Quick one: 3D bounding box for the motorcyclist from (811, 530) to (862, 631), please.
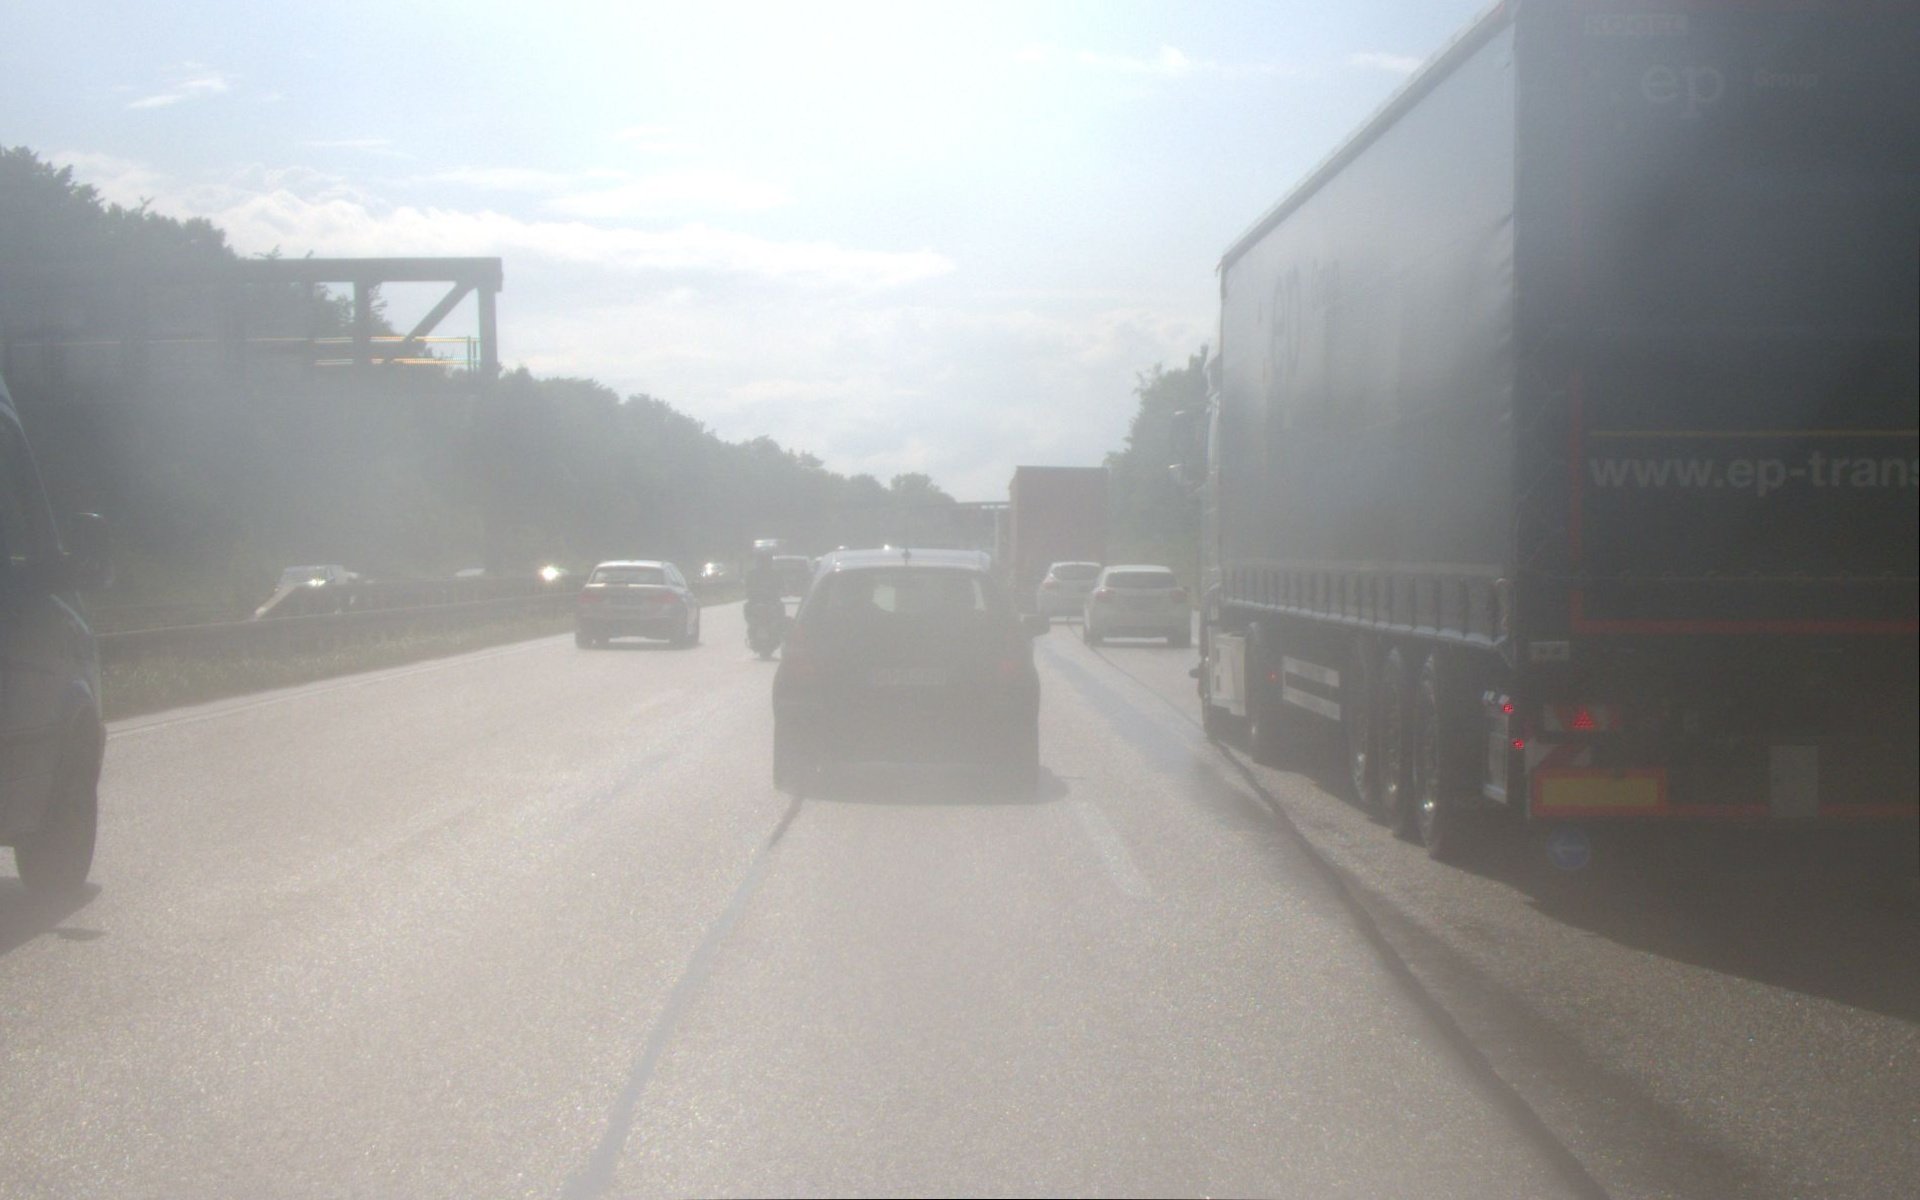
[{"bbox_3d":[-2.168,-0.343,60.414,0.821,1.755,1.390,1,0,-4],"label":"motorcyclist"}]

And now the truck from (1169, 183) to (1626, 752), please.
[{"bbox_3d":[3.519,-1.029,29.205,3.052,4.310,5.886,1,0,0],"label":"truck"}]

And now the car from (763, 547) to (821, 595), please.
[{"bbox_3d":[-5.834,-1.030,119.657,1.893,1.622,4.195,0,1,-1],"label":"car"}]

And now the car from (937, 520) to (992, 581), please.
[{"bbox_3d":[0.123,-1.580,110.406,1.675,1.929,3.773,0,1,-1],"label":"car"}]

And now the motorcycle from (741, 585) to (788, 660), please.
[{"bbox_3d":[-2.951,0.328,51.744,0.676,1.083,1.982,1,1,-4],"label":"motorcycle"}]

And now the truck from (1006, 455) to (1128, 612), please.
[{"bbox_3d":[3.054,-1.910,101.076,3.202,4.389,9.432,0,1,0],"label":"truck"}]

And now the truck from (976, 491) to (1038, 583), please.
[{"bbox_3d":[2.424,-3.252,181.064,2.882,4.671,12.659,1,0,-1],"label":"truck"}]

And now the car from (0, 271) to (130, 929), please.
[{"bbox_3d":[-4.842,0.003,13.186,2.015,2.639,5.777,0,1,-1],"label":"car"}]

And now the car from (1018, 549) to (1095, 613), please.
[{"bbox_3d":[2.277,-0.455,81.903,1.675,1.485,3.437,0,1,-1],"label":"car"}]

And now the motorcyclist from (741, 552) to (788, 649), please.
[{"bbox_3d":[-2.945,0.003,51.708,0.670,1.437,1.020,1,0,-4],"label":"motorcyclist"}]

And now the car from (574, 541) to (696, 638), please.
[{"bbox_3d":[-5.545,-0.202,58.983,1.758,1.589,4.331,0,1,-1],"label":"car"}]

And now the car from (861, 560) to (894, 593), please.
[{"bbox_3d":[-5.104,-1.476,213.108,1.993,2.007,4.000,1,0,-1],"label":"car"}]

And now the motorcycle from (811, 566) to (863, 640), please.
[{"bbox_3d":[-2.168,0.045,60.381,0.819,1.258,2.118,1,1,-4],"label":"motorcycle"}]

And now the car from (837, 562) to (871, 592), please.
[{"bbox_3d":[-5.414,-1.187,175.708,1.675,1.485,3.437,0,1,-1],"label":"car"}]

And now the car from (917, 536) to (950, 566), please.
[{"bbox_3d":[-1.323,-2.421,171.002,1.631,1.485,3.437,0,1,-1],"label":"car"}]

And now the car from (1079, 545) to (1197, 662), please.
[{"bbox_3d":[3.144,0.050,61.362,1.849,2.007,4.087,1,0,0],"label":"car"}]

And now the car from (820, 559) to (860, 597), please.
[{"bbox_3d":[-5.208,-0.967,149.771,1.675,1.591,3.437,0,1,-1],"label":"car"}]

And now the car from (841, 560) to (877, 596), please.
[{"bbox_3d":[-5.777,-1.270,196.629,1.993,2.007,4.000,1,0,-1],"label":"car"}]

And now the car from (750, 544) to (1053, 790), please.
[{"bbox_3d":[-0.416,0.402,24.050,1.915,1.560,4.314,0,1,-1],"label":"car"}]

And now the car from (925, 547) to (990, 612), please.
[{"bbox_3d":[-0.095,-0.642,108.799,1.993,2.007,4.000,1,0,-1],"label":"car"}]

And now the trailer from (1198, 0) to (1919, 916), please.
[{"bbox_3d":[3.661,-0.930,21.245,3.088,4.298,14.106,0,1,-1],"label":"trailer"}]
